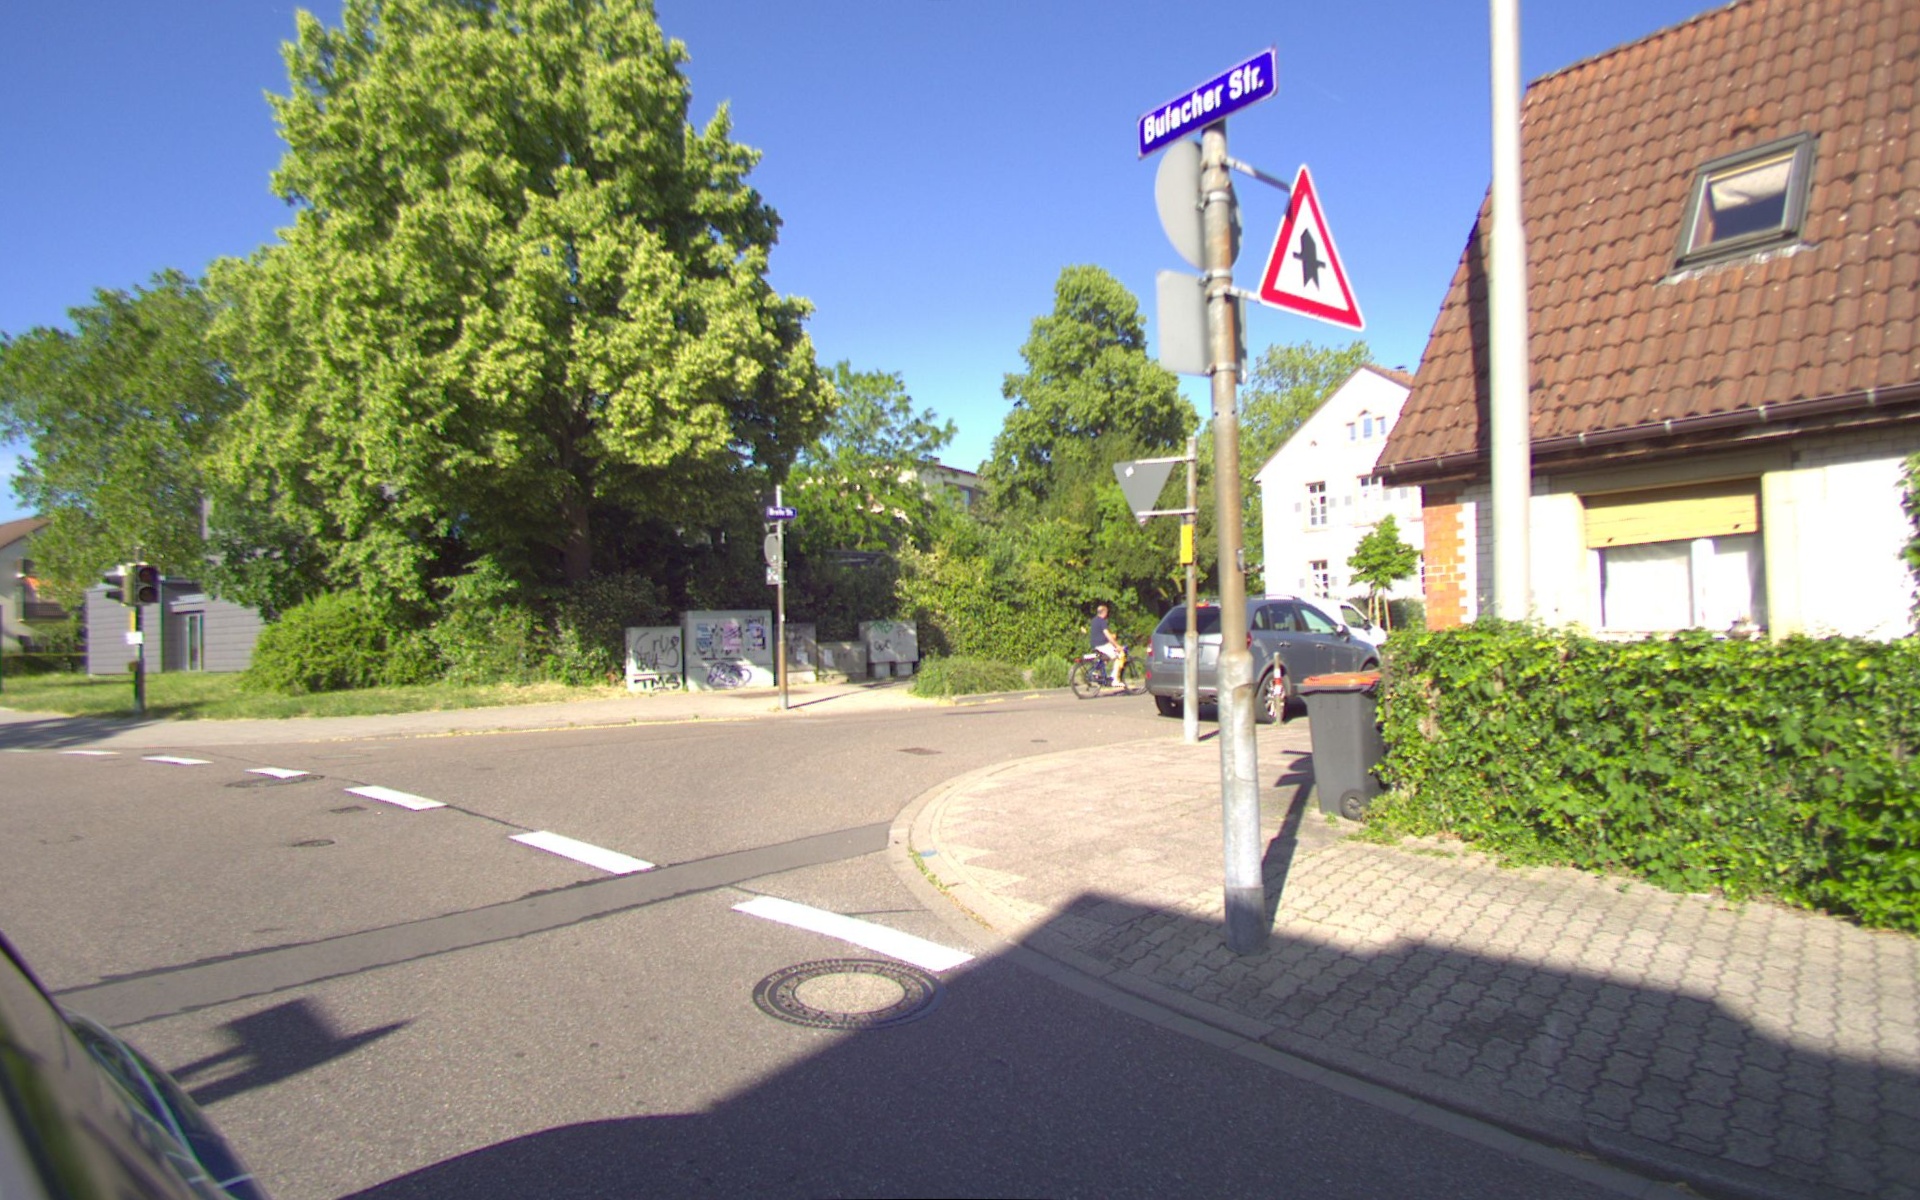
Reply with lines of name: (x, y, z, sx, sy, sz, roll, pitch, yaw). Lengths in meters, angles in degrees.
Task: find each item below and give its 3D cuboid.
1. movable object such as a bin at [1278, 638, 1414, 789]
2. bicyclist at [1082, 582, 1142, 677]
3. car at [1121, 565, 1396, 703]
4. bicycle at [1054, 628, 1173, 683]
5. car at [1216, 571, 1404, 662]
movable object such as a bin: (2.573, 0.735, 6.763, 0.549, 0.932, 0.626, 0, -3, -40)
bicyclist: (2.931, 0.577, 19.574, 0.838, 1.802, 0.769, 2, -3, -28)
car: (4.477, 0.460, 14.887, 4.169, 1.738, 1.948, 0, -2, -41)
bicycle: (2.979, 1.045, 19.567, 2.251, 0.947, 0.780, -1, 0, -28)
car: (8.073, 0.404, 23.166, 4.488, 1.862, 1.966, 1, -4, -40)
